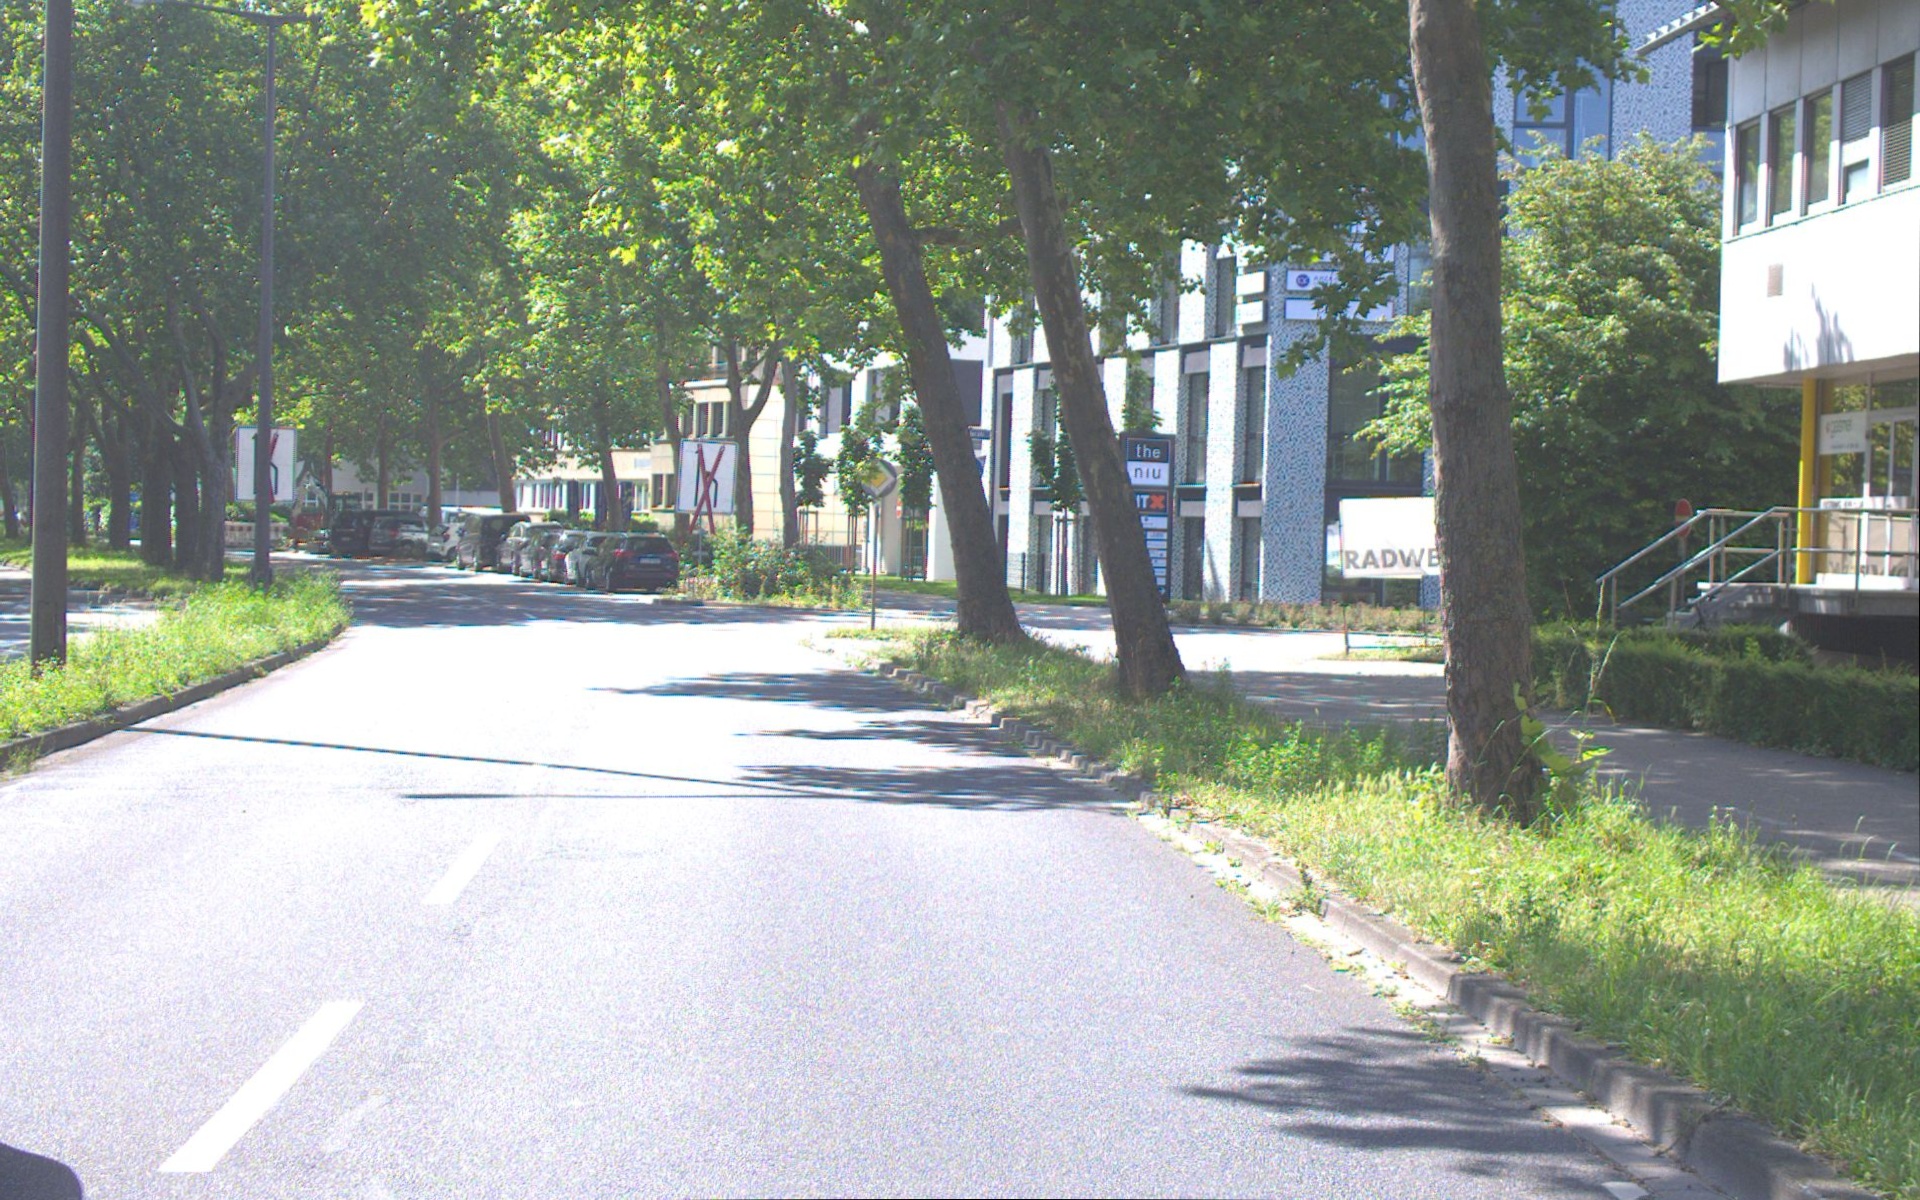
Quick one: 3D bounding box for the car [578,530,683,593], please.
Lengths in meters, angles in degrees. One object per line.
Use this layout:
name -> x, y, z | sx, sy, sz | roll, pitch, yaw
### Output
car -> -8.262, -0.979, 85.876 | 1.706, 1.482, 4.721 | 0, 2, -17

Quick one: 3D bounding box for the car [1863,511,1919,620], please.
car -> 15.576, -0.526, 54.370 | 1.678, 1.656, 3.742 | 0, 0, 28

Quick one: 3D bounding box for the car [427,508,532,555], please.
car -> -17.893, -2.563, 128.090 | 3.551, 1.634, 1.659 | 1, 1, -21

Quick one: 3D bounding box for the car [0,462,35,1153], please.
car -> -3.229, 0.523, 6.446 | 1.872, 1.690, 4.436 | 1, 1, -1

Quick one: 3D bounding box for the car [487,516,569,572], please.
car -> -13.643, -1.768, 108.316 | 1.706, 1.664, 4.535 | 1, 1, -18

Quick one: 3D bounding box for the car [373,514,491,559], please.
car -> -20.209, -2.429, 131.719 | 4.100, 1.627, 1.712 | 1, 1, -33

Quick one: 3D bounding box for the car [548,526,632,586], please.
car -> -9.890, -1.194, 91.789 | 1.706, 1.482, 4.102 | 1, 1, -13

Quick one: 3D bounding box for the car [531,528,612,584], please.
car -> -10.921, -1.252, 96.378 | 1.706, 1.450, 4.657 | 1, 1, -13

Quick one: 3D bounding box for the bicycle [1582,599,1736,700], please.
bicycle -> 7.982, 0.563, 39.313 | 1.671, 1.126, 0.509 | 0, 1, 6
